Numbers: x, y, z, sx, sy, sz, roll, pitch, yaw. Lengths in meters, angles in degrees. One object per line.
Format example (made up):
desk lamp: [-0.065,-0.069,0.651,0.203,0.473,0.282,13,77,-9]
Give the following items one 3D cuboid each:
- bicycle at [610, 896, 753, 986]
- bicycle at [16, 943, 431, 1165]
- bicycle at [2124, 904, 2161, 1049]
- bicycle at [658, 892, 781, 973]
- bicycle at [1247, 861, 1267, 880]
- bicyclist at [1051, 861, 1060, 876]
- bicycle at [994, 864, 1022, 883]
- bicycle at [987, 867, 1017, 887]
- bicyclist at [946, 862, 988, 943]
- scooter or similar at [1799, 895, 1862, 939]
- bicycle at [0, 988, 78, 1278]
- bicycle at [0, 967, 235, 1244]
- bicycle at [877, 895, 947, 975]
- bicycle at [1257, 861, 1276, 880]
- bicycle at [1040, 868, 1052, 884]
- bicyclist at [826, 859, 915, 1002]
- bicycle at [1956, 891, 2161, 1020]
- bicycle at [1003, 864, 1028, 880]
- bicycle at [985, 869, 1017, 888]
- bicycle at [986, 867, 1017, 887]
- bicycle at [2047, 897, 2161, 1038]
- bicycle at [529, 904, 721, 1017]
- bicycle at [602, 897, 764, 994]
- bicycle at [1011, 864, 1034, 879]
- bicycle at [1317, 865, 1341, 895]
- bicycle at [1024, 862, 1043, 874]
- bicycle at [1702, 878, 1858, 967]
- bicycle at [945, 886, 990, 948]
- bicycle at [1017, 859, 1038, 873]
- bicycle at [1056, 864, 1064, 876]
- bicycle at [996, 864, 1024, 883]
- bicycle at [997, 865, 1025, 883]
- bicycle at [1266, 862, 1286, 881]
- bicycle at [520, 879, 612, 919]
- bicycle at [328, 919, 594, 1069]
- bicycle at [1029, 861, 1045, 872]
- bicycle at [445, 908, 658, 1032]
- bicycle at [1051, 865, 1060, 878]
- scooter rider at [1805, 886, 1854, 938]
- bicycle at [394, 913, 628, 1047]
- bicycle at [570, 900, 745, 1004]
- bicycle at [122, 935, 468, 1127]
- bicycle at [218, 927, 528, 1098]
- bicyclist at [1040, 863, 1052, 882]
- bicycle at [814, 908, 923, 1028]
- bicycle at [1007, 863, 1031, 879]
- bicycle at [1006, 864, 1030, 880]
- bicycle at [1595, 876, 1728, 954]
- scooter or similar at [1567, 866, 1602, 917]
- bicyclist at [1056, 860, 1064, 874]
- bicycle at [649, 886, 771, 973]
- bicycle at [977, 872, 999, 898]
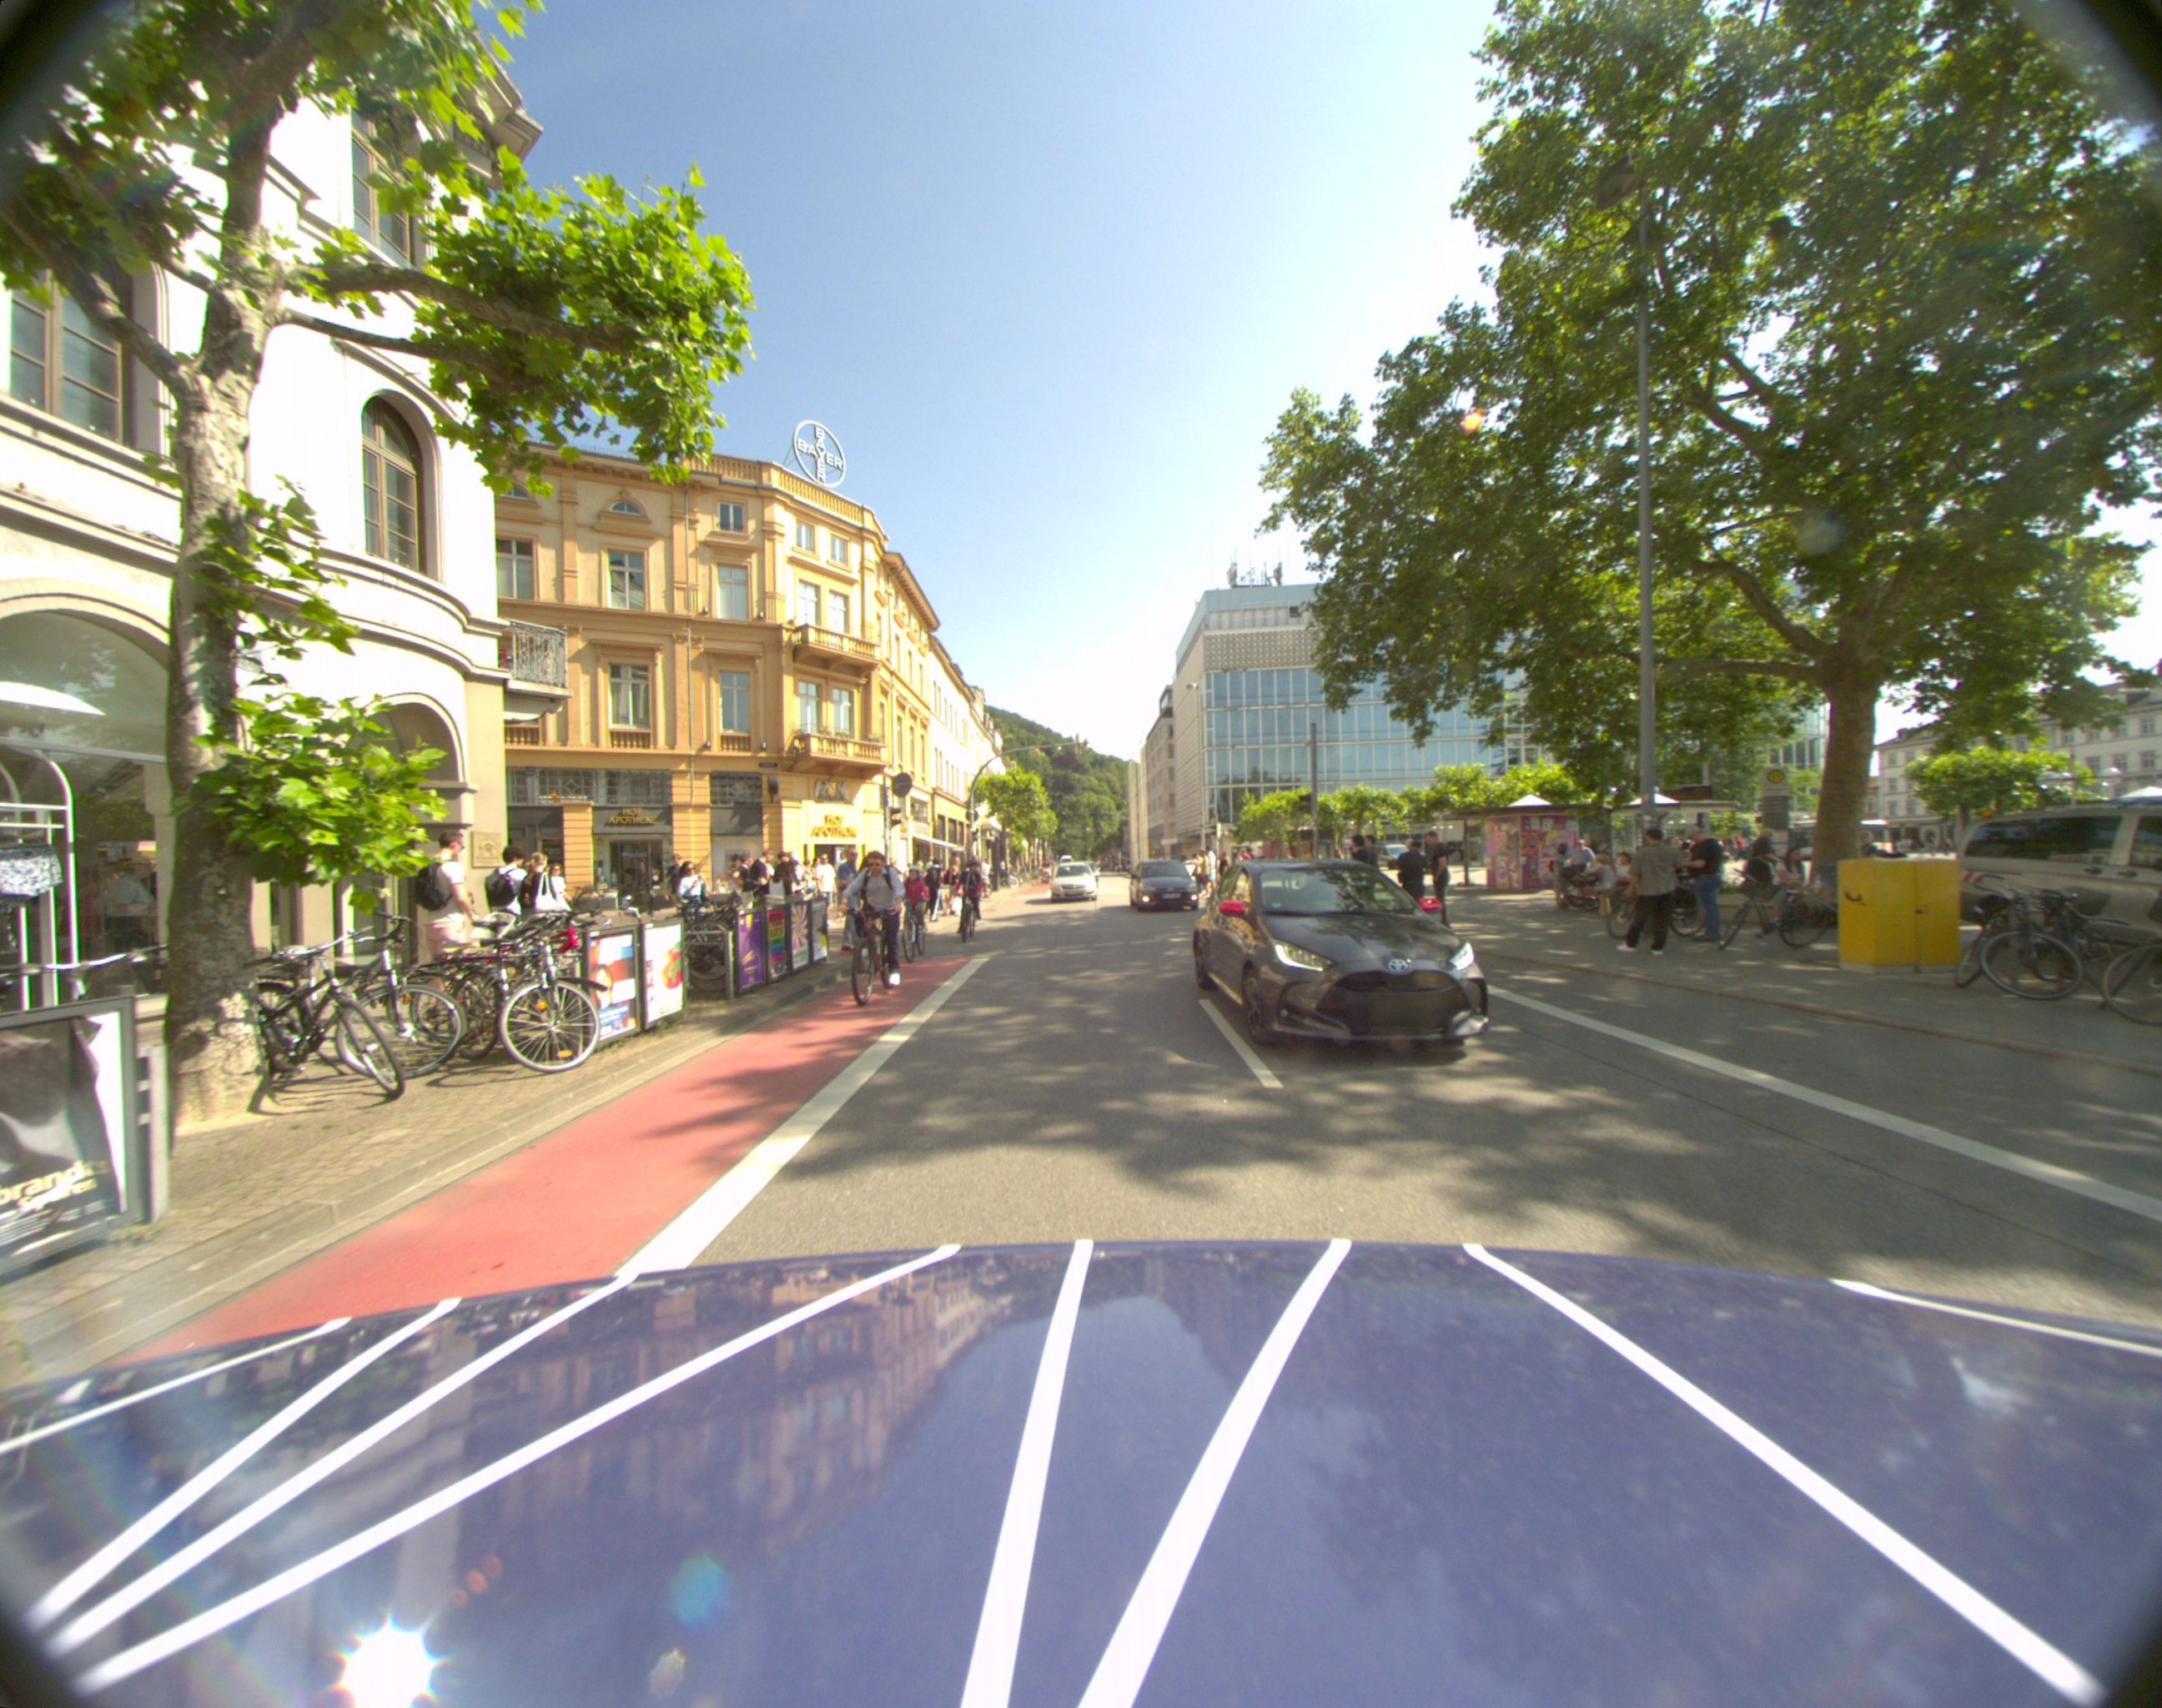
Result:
bicycle: [-5.511,1.186,10.545,1.660,1.140,0.523,-2,1,-2]
bicycle: [-5.150,1.176,4.647,1.757,1.140,0.598,-2,1,-2]
bicycle: [9.569,0.974,6.114,1.757,1.140,0.483,-2,1,-2]
bicycle: [-5.498,1.183,11.604,1.633,1.140,0.425,-2,1,-2]
bicycle: [11.210,1.051,48.389,0.592,1.140,1.757,-2,0,-8]
bicyclist: [-2.369,1.334,70.611,0.726,1.271,0.715,-3,1,0]
bicycle: [-4.675,1.258,48.618,1.757,1.140,0.592,-2,1,-2]
bicycle: [-4.763,1.406,46.017,1.757,1.140,0.592,-2,1,-2]
bicyclist: [-2.312,0.966,15.515,0.690,1.567,0.778,-3,1,-3]
scooter or similar: [12.524,1.047,12.720,0.579,0.643,0.787,-3,0,33]
bicycle: [-5.290,1.182,3.001,1.757,1.140,0.592,-2,1,-2]
bicycle: [-5.333,1.188,3.683,1.757,1.140,0.592,-2,1,0]
bicycle: [-2.709,1.276,12.383,0.736,1.086,1.819,-3,0,-2]
bicycle: [11.820,1.044,48.474,0.592,1.140,1.757,-2,0,-8]
bicycle: [-2.629,1.630,57.074,0.736,1.086,1.898,-3,0,0]
bicyclist: [-2.445,0.861,8.908,0.750,1.567,0.778,-3,1,-1]
bicycle: [9.669,0.965,7.417,1.757,1.140,0.483,-2,1,-2]
bicycle: [-4.823,1.302,55.954,1.757,1.140,0.592,-2,1,-2]
bicycle: [-4.626,1.398,44.045,1.757,1.029,0.592,-2,1,-2]
bicycle: [-4.725,1.376,45.145,1.757,1.140,0.592,-2,1,-2]
bicycle: [9.693,0.966,6.718,1.757,1.140,0.483,-2,1,-2]
bicycle: [-5.112,1.179,8.593,1.757,1.140,0.592,-2,1,-2]
bicycle: [-5.177,1.180,9.958,1.757,1.140,0.592,-2,1,-2]
bicycle: [-4.635,1.386,60.650,1.757,1.140,0.592,-2,1,-2]
bicycle: [10.322,1.054,31.709,0.729,1.137,1.914,-3,0,13]
bicycle: [-4.606,1.387,73.777,1.757,1.140,0.592,-2,1,-2]
bicycle: [9.679,0.932,10.543,1.757,1.140,0.483,-2,1,-2]
bicycle: [-2.288,1.250,15.522,0.667,1.086,1.897,-3,0,-3]
bicycle: [-4.746,1.045,67.600,1.757,1.140,0.592,-2,1,-2]
bicycle: [-2.095,1.568,75.240,0.736,1.086,1.898,-3,0,0]
bicycle: [-4.607,1.254,49.362,1.757,1.140,0.592,-2,1,-2]
bicycle: [-4.684,1.335,50.838,1.757,1.140,0.592,-2,1,-2]
bicycle: [12.447,1.114,48.549,0.592,1.140,1.757,-2,0,-8]
bicycle: [-17.428,1.501,25.804,2.421,1.145,0.780,-3,1,-24]
bicycle: [-5.330,1.185,6.605,1.757,1.140,0.592,-2,1,-2]
bicycle: [-4.805,1.397,82.985,1.757,1.140,0.592,-2,1,-2]
bicycle: [-5.504,1.190,7.967,1.757,1.151,0.592,-2,1,-2]
bicycle: [-2.368,1.592,70.574,0.736,1.086,1.898,-3,0,0]
scooter rider: [12.616,0.969,12.810,0.506,0.834,0.349,-3,1,33]
bicycle: [-5.466,1.189,7.356,1.757,1.140,0.592,-2,1,-2]
bicycle: [-5.140,1.180,9.298,1.757,1.140,0.592,-2,1,-2]
bicycle: [-5.364,1.187,5.251,1.757,1.140,0.518,-2,1,-2]
bicycle: [-5.408,1.188,5.880,1.757,1.140,0.592,-2,1,-2]
bicyclist: [-2.633,1.370,57.078,0.736,1.344,0.736,-3,1,0]
bicycle: [-2.418,1.260,8.888,0.736,1.086,1.897,-3,0,-2]
bicycle: [-4.756,1.303,58.000,1.757,1.140,0.592,-2,1,-2]
bicycle: [-4.713,1.354,57.146,1.757,1.140,0.592,-2,1,-2]
bicycle: [9.137,0.949,11.981,1.757,1.140,0.483,-2,1,-2]
scooter or similar: [11.559,0.859,17.456,0.567,1.113,0.539,-3,1,27]
bicyclist: [-2.100,1.274,75.329,0.736,1.376,0.734,-3,1,0]
bicycle: [-5.431,1.098,11.158,1.533,1.190,0.425,-2,1,-2]
bicycle: [-4.174,1.365,33.986,0.737,1.086,1.895,2,0,-14]
